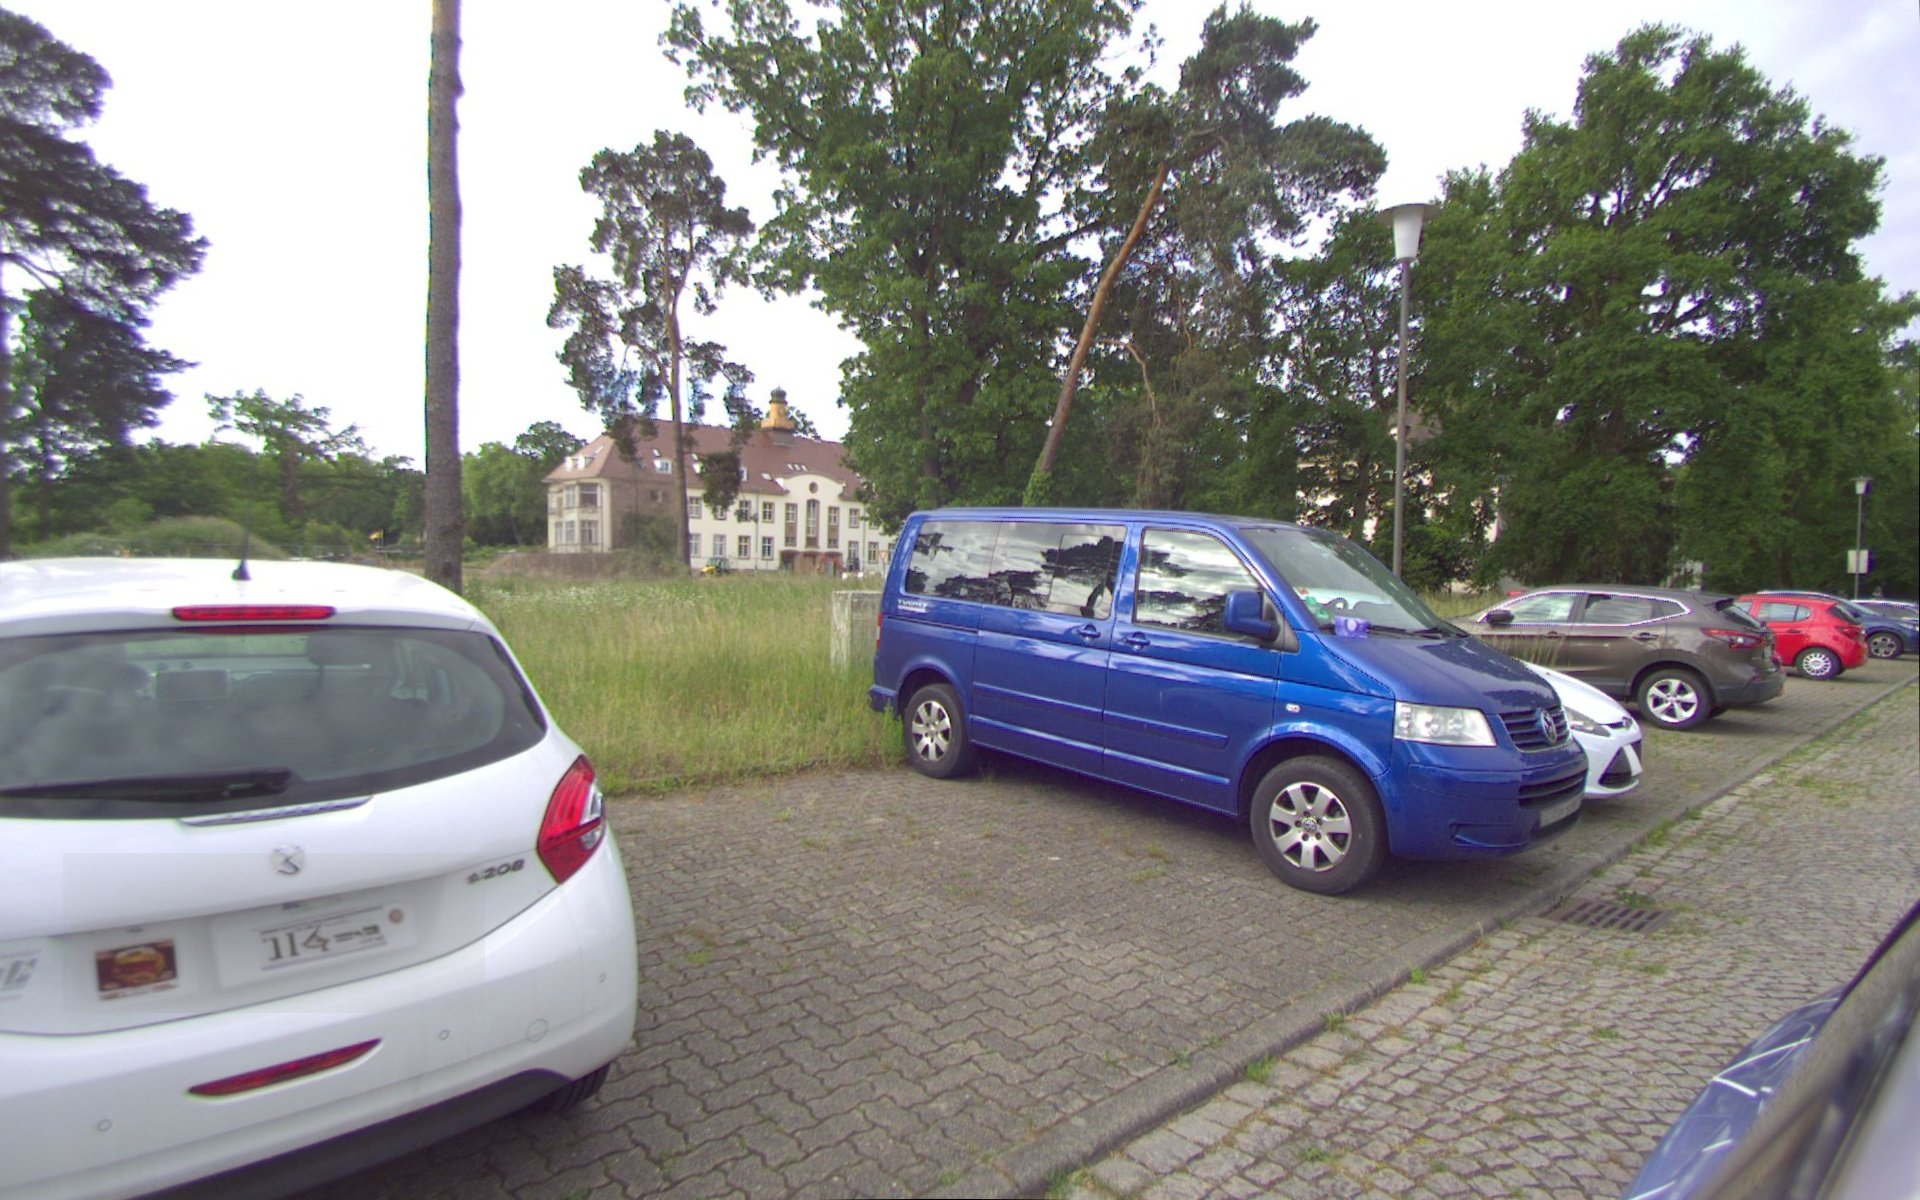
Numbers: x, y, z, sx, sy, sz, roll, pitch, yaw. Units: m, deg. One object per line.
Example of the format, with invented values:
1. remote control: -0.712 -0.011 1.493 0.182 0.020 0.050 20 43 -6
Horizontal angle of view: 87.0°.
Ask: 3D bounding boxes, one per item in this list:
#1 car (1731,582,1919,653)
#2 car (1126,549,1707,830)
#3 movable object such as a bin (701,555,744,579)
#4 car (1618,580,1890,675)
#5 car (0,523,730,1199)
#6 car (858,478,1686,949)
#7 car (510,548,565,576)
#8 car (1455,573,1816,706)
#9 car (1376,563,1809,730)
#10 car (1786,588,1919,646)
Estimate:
1. car: 22.775 0.407 26.252 1.556 1.556 4.146 0 3 -43
2. car: 3.501 0.488 8.301 1.810 1.489 3.871 0 6 -43
3. movable object such as a bin: -20.491 -2.854 87.321 3.181 2.038 1.682 0 2 -34
4. car: 15.238 0.455 19.580 1.556 1.477 3.891 0 3 -43
5. car: -2.485 0.538 3.391 1.727 1.490 3.872 0 4 -40
6. car: 1.590 0.314 6.660 1.969 1.969 4.816 0 4 -43
7. car: -38.653 -3.471 92.518 5.847 2.268 2.283 5 3 42
8. car: 9.642 0.455 14.709 1.735 1.504 4.015 0 3 -41
9. car: 7.775 0.428 12.773 1.791 1.618 4.267 0 3 -43
10. car: 26.386 0.487 29.078 1.556 1.443 3.874 0 3 -43
